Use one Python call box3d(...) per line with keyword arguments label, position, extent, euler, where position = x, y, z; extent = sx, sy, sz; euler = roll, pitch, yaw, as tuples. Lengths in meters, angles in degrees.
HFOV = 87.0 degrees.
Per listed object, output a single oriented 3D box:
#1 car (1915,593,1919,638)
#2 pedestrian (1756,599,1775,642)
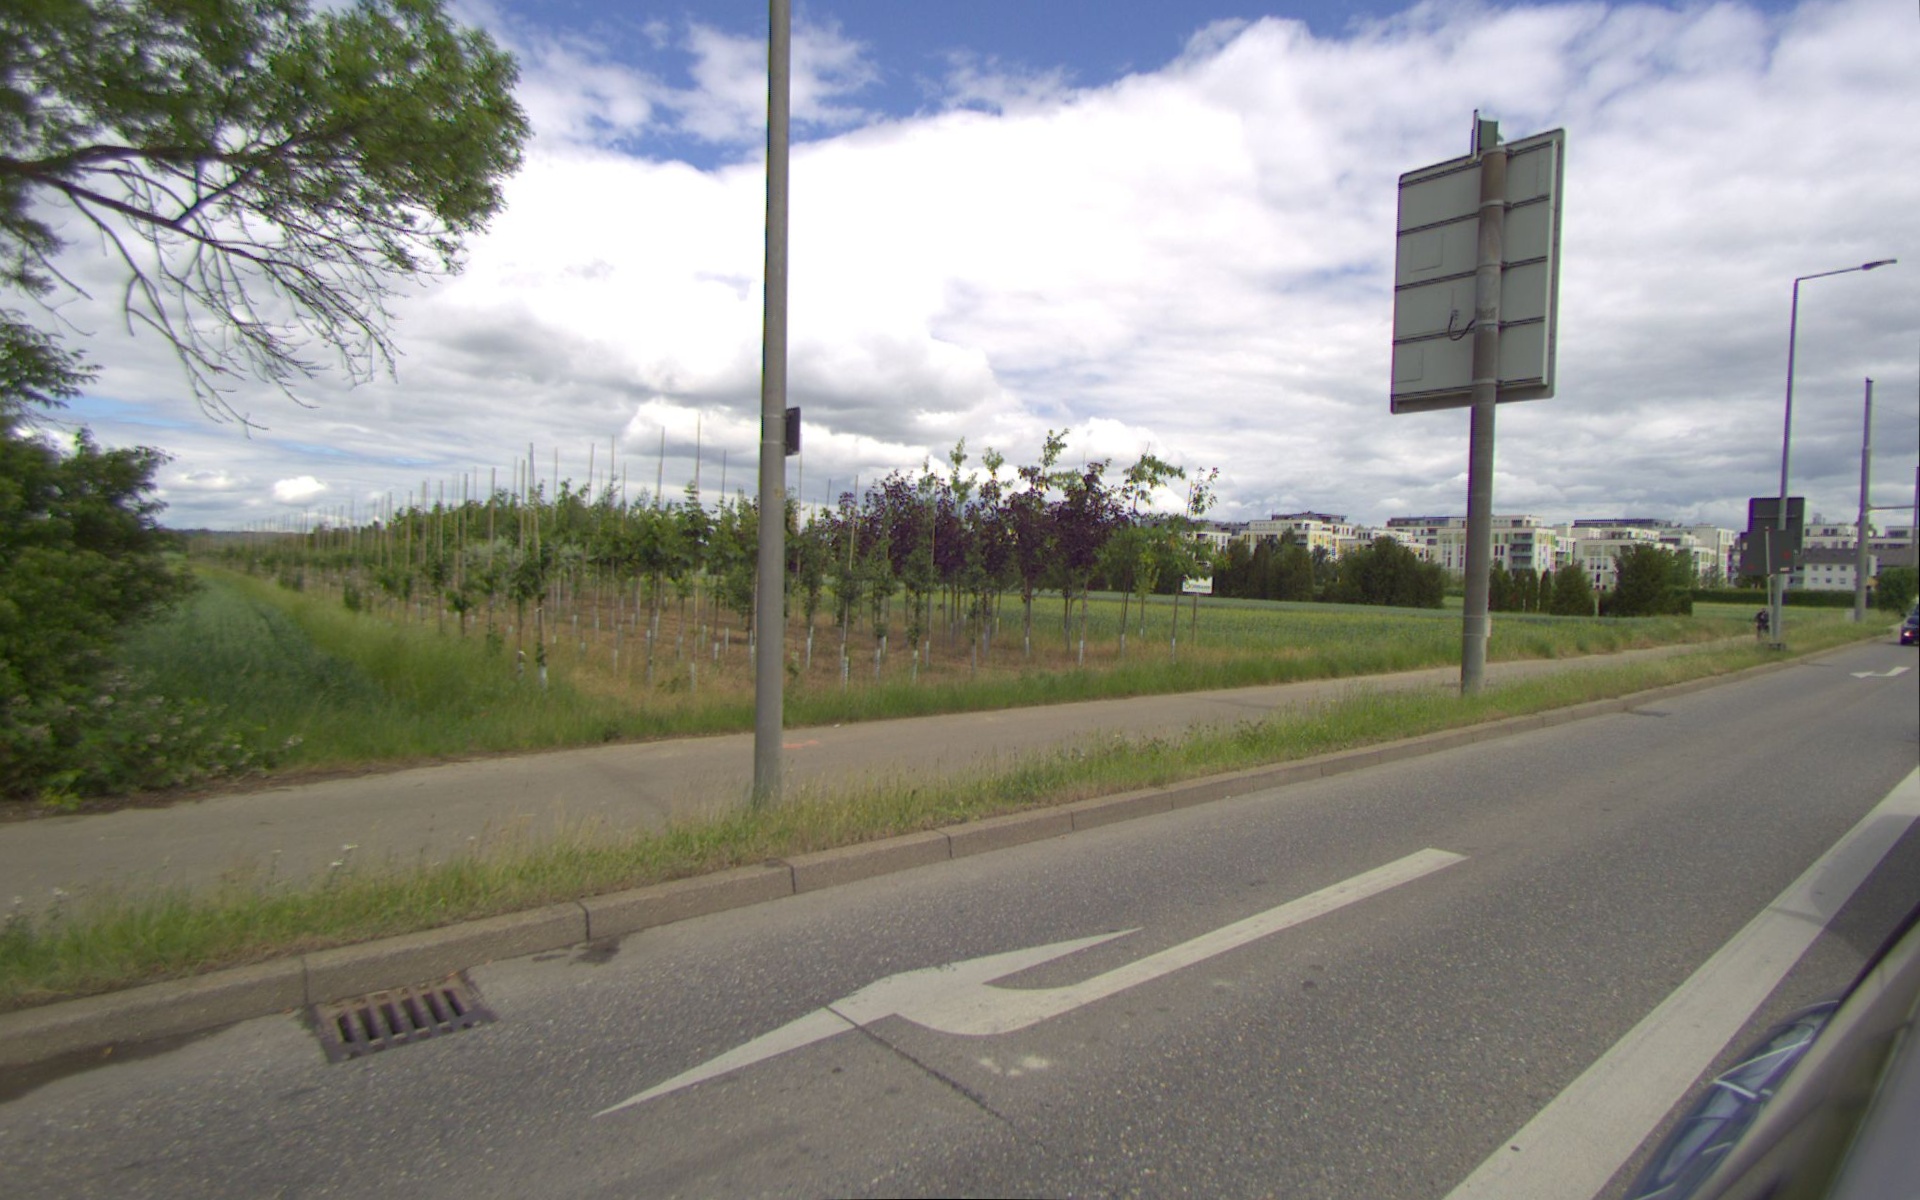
box3d(label="car", position=(32.288, 0.498, 32.797), extent=(3.676, 1.436, 1.681), euler=(0, 2, -42))
box3d(label="pedestrian", position=(32.209, 0.808, 40.480), extent=(0.615, 1.724, 0.492), euler=(0, 0, -42))
